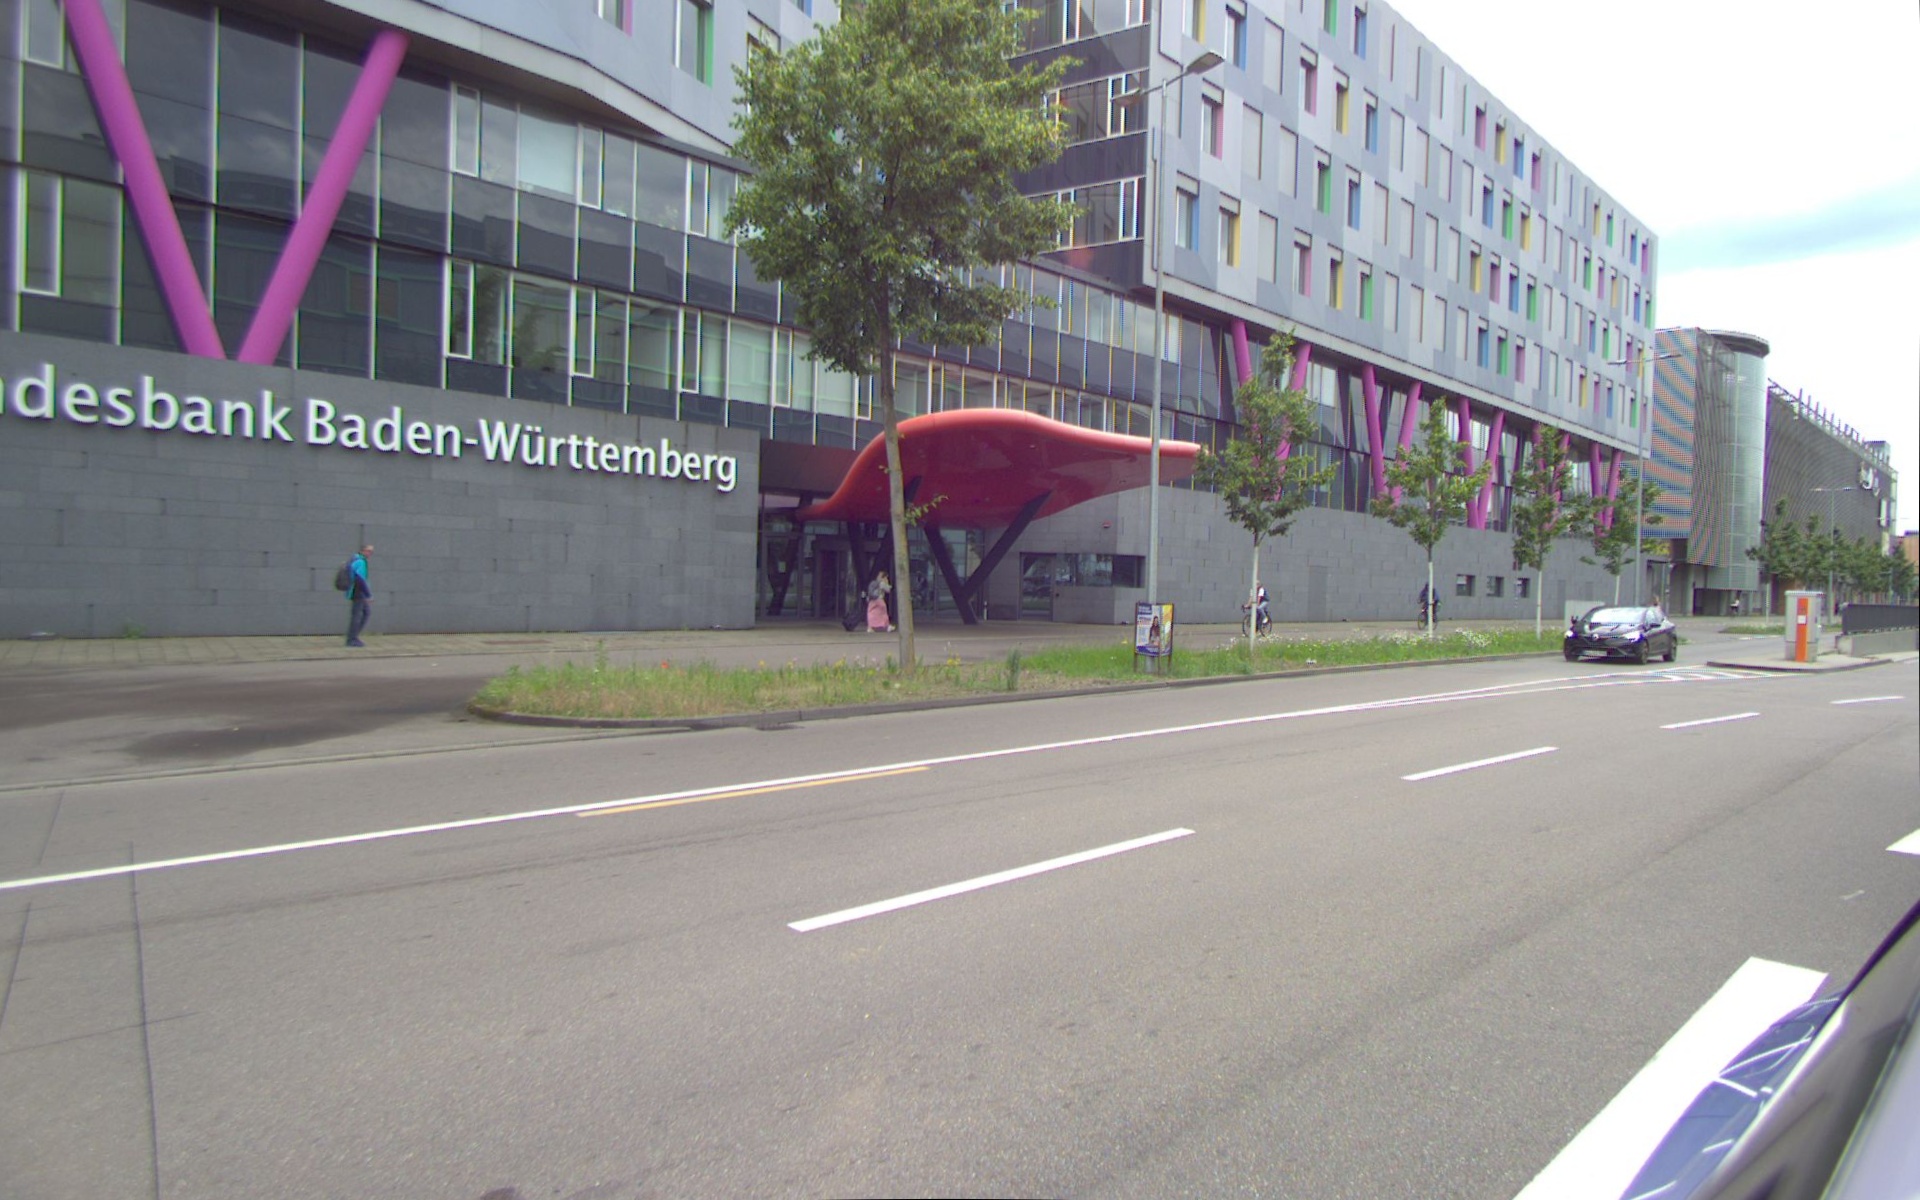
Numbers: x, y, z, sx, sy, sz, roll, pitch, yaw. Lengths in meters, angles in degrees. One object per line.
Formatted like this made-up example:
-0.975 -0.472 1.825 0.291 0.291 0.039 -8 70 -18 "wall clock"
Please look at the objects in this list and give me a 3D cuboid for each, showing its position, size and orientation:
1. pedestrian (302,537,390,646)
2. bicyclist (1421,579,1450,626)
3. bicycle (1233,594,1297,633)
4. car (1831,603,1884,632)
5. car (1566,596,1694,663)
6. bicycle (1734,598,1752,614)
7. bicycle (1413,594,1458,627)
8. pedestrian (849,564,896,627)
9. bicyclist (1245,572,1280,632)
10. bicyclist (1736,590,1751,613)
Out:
-10.504 -0.153 17.316 1.116 1.792 1.054 1 1 -40 "pedestrian"
19.130 0.111 40.747 0.692 1.826 0.783 6 -3 -41 "bicyclist"
9.535 0.432 31.606 2.304 1.173 0.800 2 0 -42 "bicycle"
47.898 0.892 53.975 4.266 1.480 1.566 0 0 -41 "car"
17.033 0.698 25.658 4.266 1.479 1.567 0 3 -41 "car"
63.915 0.503 82.580 2.183 1.209 0.784 1 1 -43 "bicycle"
19.172 0.431 40.788 2.303 1.173 0.800 6 -3 -42 "bicycle"
-2.276 -0.113 26.330 0.898 1.602 0.786 1 1 -40 "pedestrian"
9.402 0.062 31.486 0.692 1.825 0.783 2 -1 -41 "bicyclist"
63.971 0.138 82.613 0.957 1.809 0.771 1 1 -42 "bicyclist"
